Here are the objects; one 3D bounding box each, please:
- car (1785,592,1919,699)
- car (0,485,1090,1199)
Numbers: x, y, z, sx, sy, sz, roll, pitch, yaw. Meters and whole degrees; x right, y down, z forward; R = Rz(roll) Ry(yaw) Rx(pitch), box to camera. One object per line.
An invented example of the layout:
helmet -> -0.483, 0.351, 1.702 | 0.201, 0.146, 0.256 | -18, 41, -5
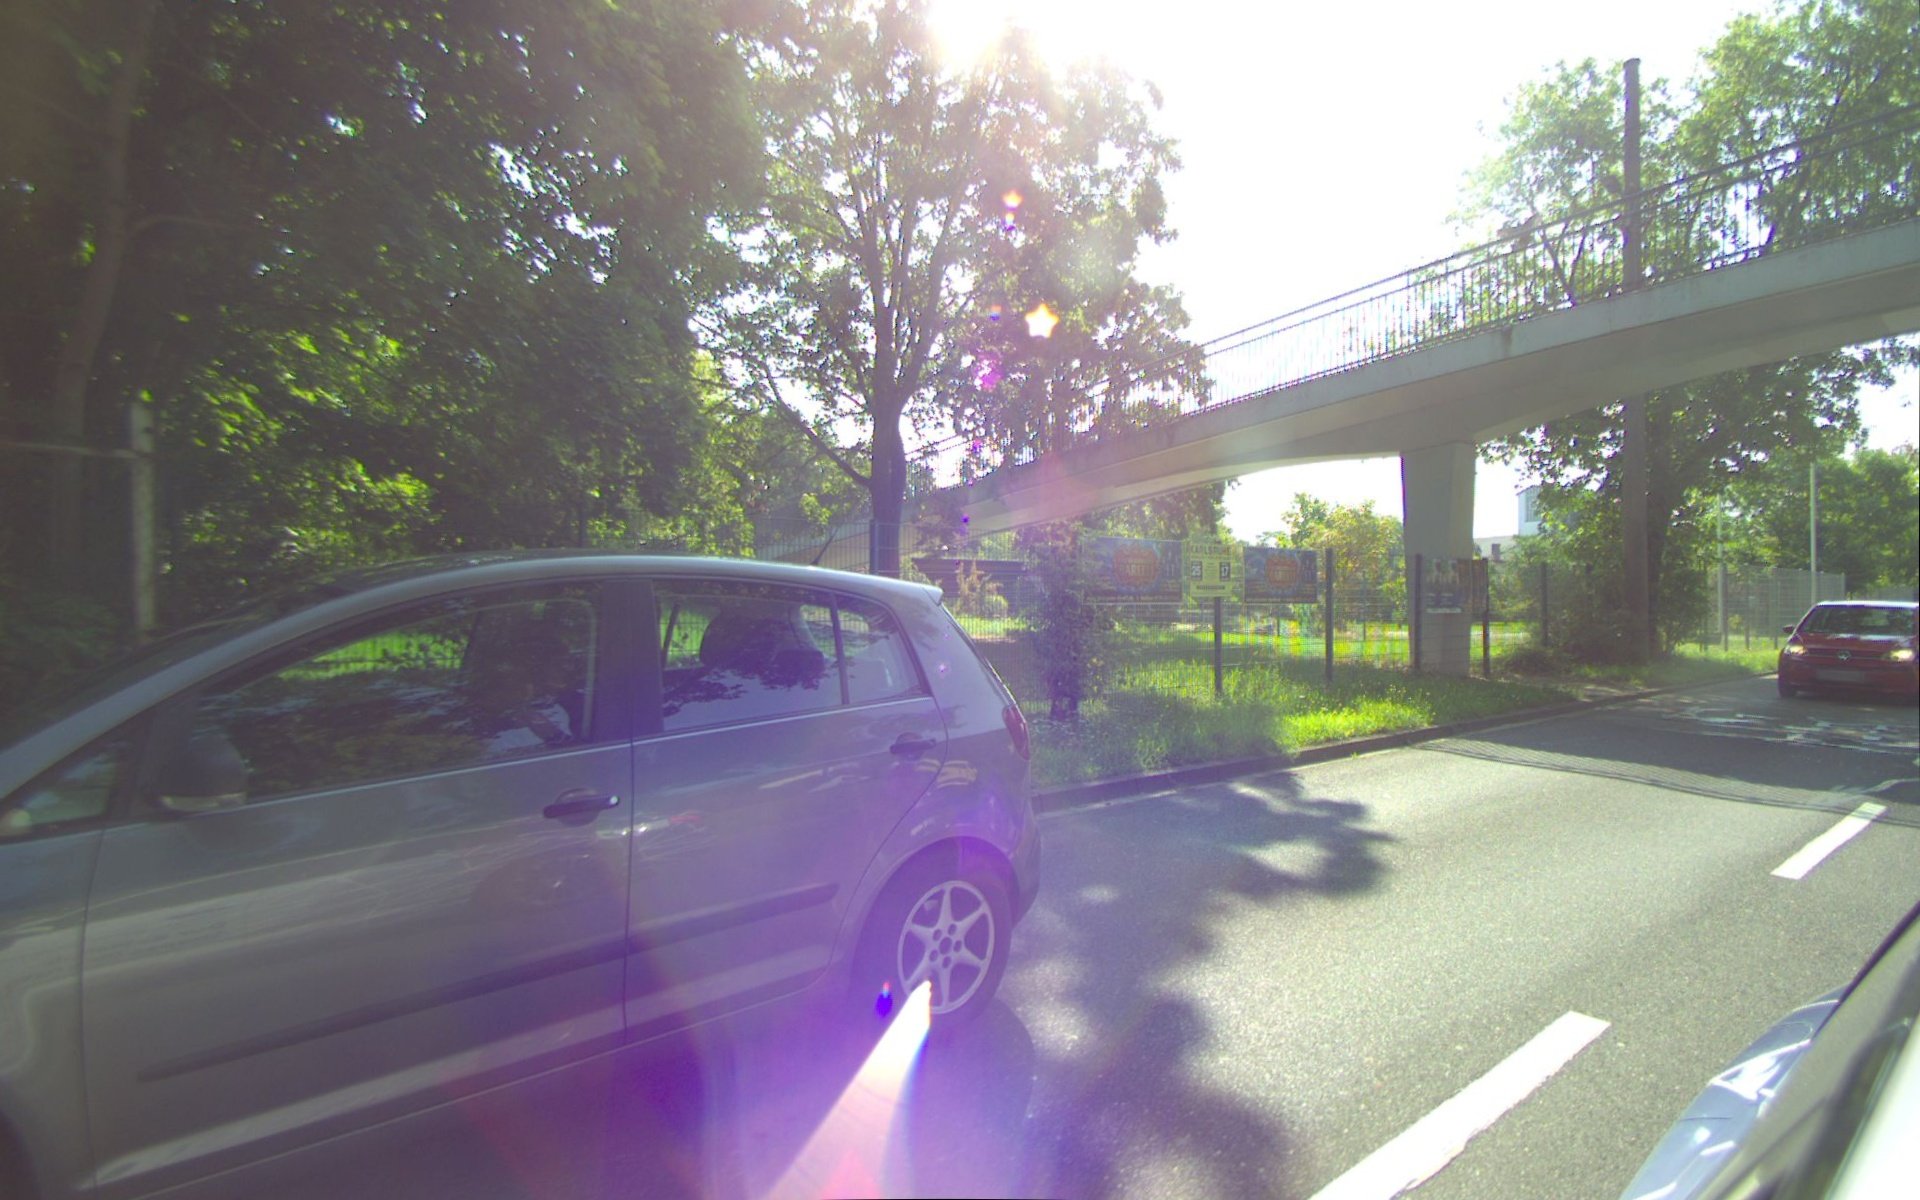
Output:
car -> 14.004, 0.610, 15.339 | 3.408, 1.416, 1.579 | -1, 1, -38
car -> -1.517, 0.581, 3.040 | 3.831, 1.576, 1.648 | -1, 0, -41
